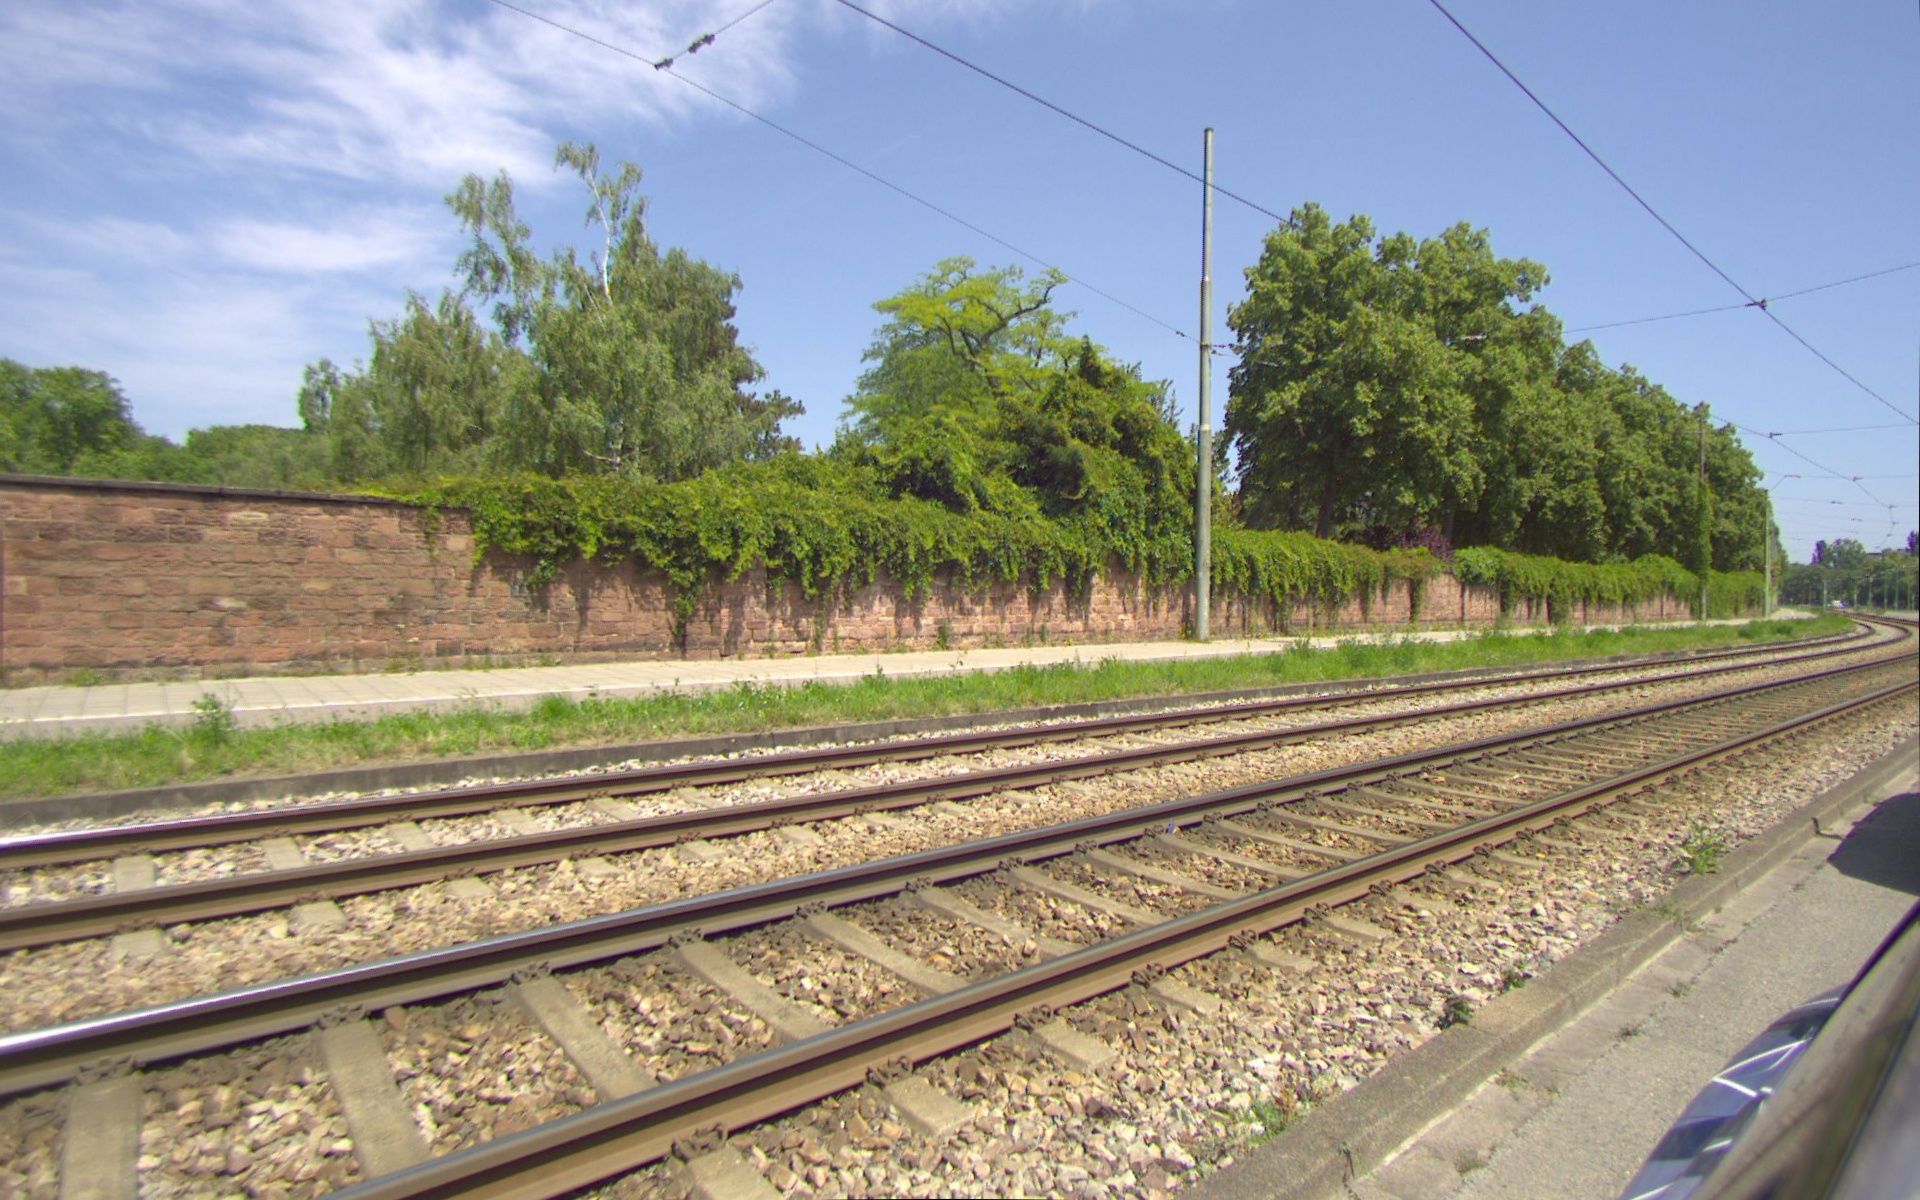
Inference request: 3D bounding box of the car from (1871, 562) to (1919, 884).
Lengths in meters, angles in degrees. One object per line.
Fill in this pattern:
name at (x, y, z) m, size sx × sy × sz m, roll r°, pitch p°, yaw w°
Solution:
car at (6.731, 0.588, 5.452) m, size 3.927 × 1.563 × 2.062 m, roll 0°, pitch -2°, yaw -38°
